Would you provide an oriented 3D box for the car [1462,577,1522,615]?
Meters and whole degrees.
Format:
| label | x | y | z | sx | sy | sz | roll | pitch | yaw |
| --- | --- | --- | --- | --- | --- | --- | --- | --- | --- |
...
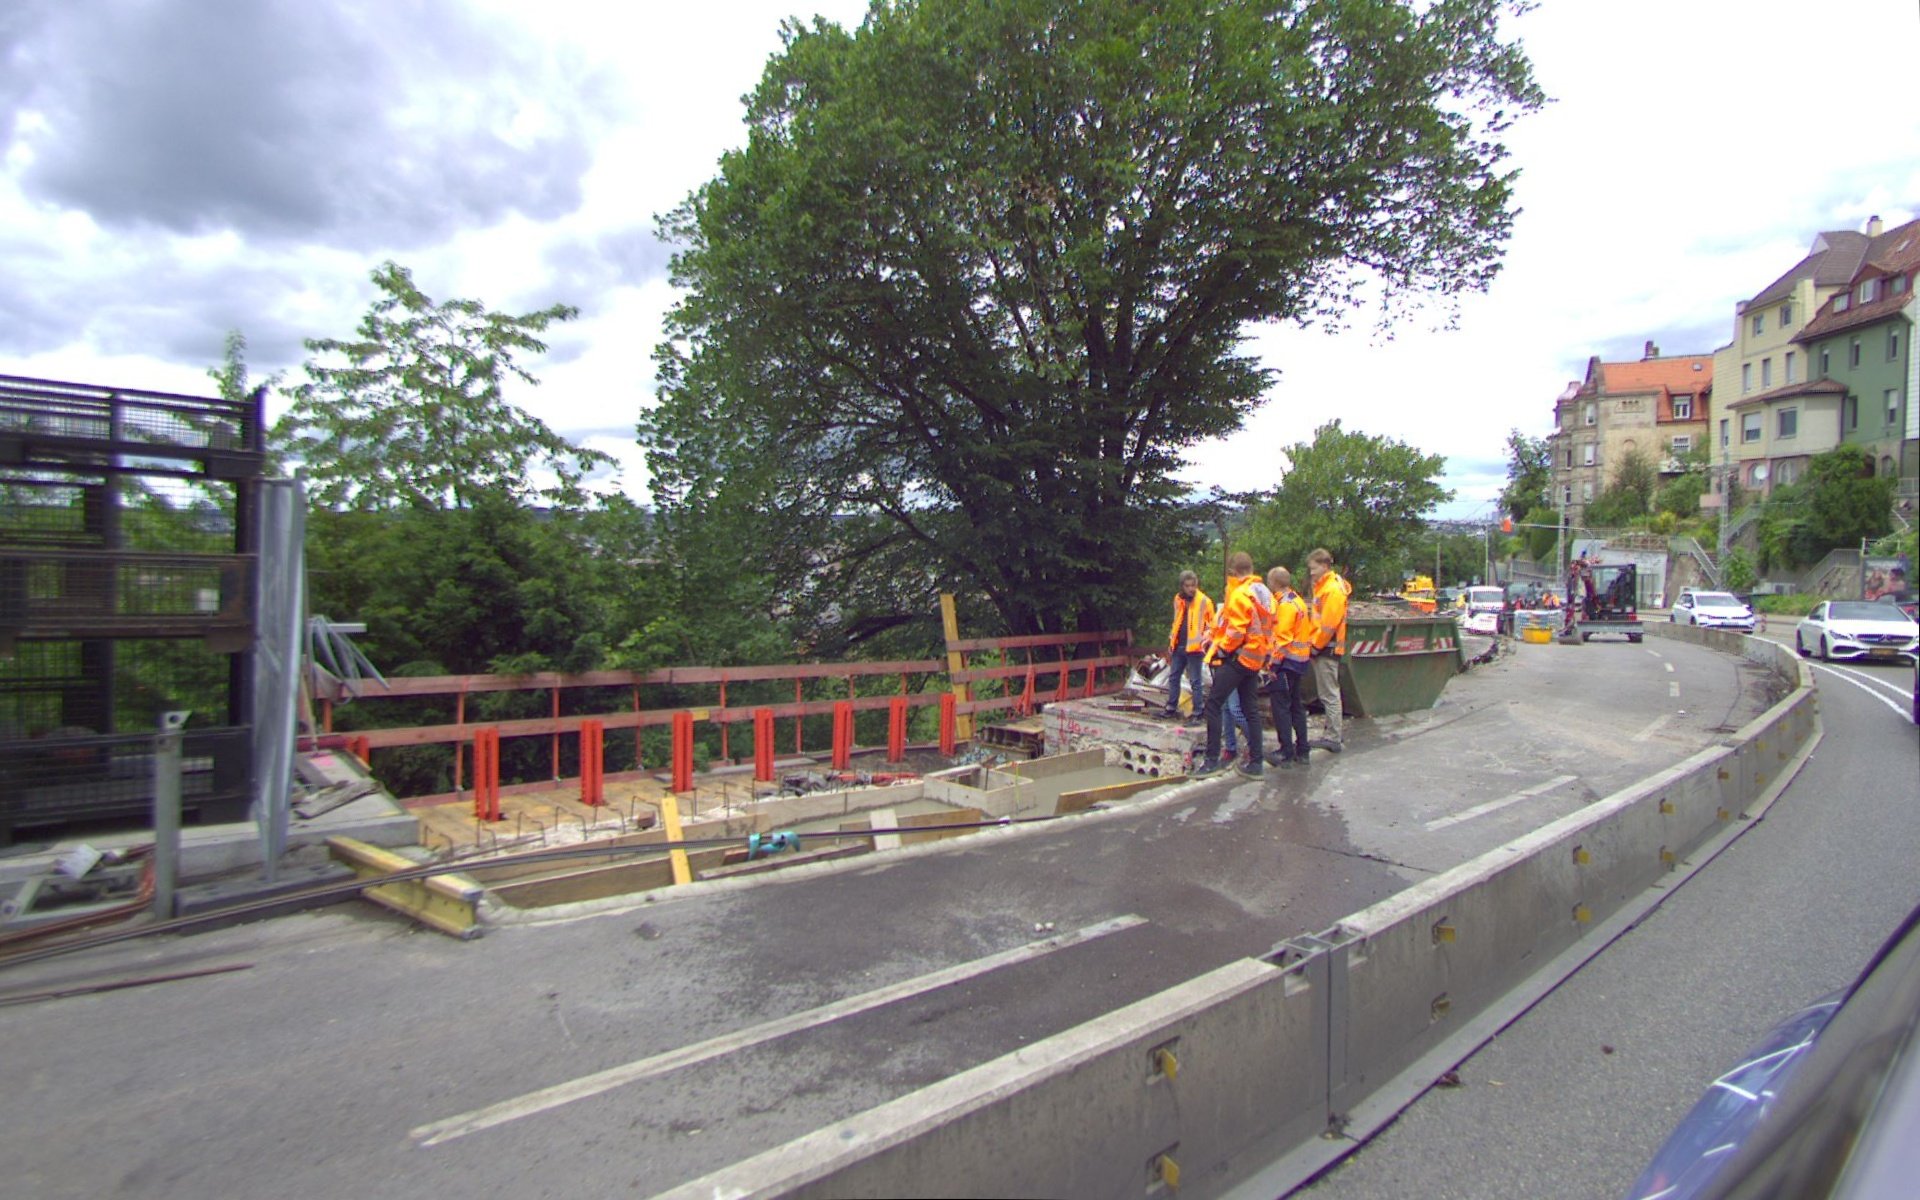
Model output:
| label | x | y | z | sx | sy | sz | roll | pitch | yaw |
| --- | --- | --- | --- | --- | --- | --- | --- | --- | --- |
| car | 24.900 | -0.185 | 47.486 | 1.770 | 1.706 | 3.977 | 0 | 1 | 18 |

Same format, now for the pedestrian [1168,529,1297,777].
| label | x | y | z | sx | sy | sz | roll | pitch | yaw |
| --- | --- | --- | --- | --- | --- | --- | --- | --- | --- |
| pedestrian | 2.223 | 0.393 | 8.242 | 0.637 | 1.882 | 0.823 | 5 | 3 | 39 |

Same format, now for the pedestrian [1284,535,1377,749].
| label | x | y | z | sx | sy | sz | roll | pitch | yaw |
| --- | --- | --- | --- | --- | --- | --- | --- | --- | --- |
| pedestrian | 3.468 | 0.375 | 9.527 | 0.609 | 1.908 | 0.716 | 3 | 0 | 10 |

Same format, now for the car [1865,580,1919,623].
| label | x | y | z | sx | sy | sz | roll | pitch | yaw |
| --- | --- | --- | --- | --- | --- | --- | --- | --- | --- |
| car | 34.581 | 0.022 | 36.458 | 1.664 | 1.435 | 3.763 | -4 | -1 | 22 |

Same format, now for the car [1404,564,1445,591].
| label | x | y | z | sx | sy | sz | roll | pitch | yaw |
| --- | --- | --- | --- | --- | --- | --- | --- | --- | --- |
| car | 36.922 | -1.777 | 80.568 | 1.968 | 2.128 | 4.058 | 0 | 1 | 10 |

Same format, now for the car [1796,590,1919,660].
| label | x | y | z | sx | sy | sz | roll | pitch | yaw |
| --- | --- | --- | --- | --- | --- | --- | --- | --- | --- |
| car | 20.873 | 0.522 | 23.210 | 1.783 | 1.322 | 4.061 | 2 | 3 | 28 |

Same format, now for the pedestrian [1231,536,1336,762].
| label | x | y | z | sx | sy | sz | roll | pitch | yaw |
| --- | --- | --- | --- | --- | --- | --- | --- | --- | --- |
| pedestrian | 2.835 | 0.397 | 8.863 | 0.525 | 1.865 | 0.785 | 5 | 3 | 39 |

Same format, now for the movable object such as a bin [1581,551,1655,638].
| label | x | y | z | sx | sy | sz | roll | pitch | yaw |
| --- | --- | --- | --- | --- | --- | --- | --- | --- | --- |
| movable object such as a bin | 21.113 | -0.190 | 32.588 | 1.849 | 2.628 | 3.403 | 0 | 0 | 31 |

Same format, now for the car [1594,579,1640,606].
| label | x | y | z | sx | sy | sz | roll | pitch | yaw |
| --- | --- | --- | --- | --- | --- | --- | --- | --- | --- |
| car | 38.779 | -0.460 | 59.808 | 1.672 | 1.527 | 3.635 | 0 | 1 | 23 |

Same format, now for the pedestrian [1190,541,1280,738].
| label | x | y | z | sx | sy | sz | roll | pitch | yaw |
| --- | --- | --- | --- | --- | --- | --- | --- | --- | --- |
| pedestrian | 2.805 | 0.393 | 10.323 | 0.726 | 1.916 | 0.612 | -1 | -3 | 33 |

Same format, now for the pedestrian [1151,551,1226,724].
| label | x | y | z | sx | sy | sz | roll | pitch | yaw |
| --- | --- | --- | --- | --- | --- | --- | --- | --- | --- |
| pedestrian | 2.498 | 0.393 | 11.053 | 0.640 | 1.816 | 0.638 | -1 | 0 | 25 |

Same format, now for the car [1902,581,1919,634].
| label | x | y | z | sx | sy | sz | roll | pitch | yaw |
| --- | --- | --- | --- | --- | --- | --- | --- | --- | --- |
| car | 27.649 | 0.226 | 27.444 | 1.781 | 1.489 | 4.166 | 0 | 0 | 24 |

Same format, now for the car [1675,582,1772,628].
| label | x | y | z | sx | sy | sz | roll | pitch | yaw |
| --- | --- | --- | --- | --- | --- | --- | --- | --- | --- |
| car | 28.199 | 0.145 | 37.512 | 1.865 | 1.598 | 3.971 | 0 | 1 | 22 |
